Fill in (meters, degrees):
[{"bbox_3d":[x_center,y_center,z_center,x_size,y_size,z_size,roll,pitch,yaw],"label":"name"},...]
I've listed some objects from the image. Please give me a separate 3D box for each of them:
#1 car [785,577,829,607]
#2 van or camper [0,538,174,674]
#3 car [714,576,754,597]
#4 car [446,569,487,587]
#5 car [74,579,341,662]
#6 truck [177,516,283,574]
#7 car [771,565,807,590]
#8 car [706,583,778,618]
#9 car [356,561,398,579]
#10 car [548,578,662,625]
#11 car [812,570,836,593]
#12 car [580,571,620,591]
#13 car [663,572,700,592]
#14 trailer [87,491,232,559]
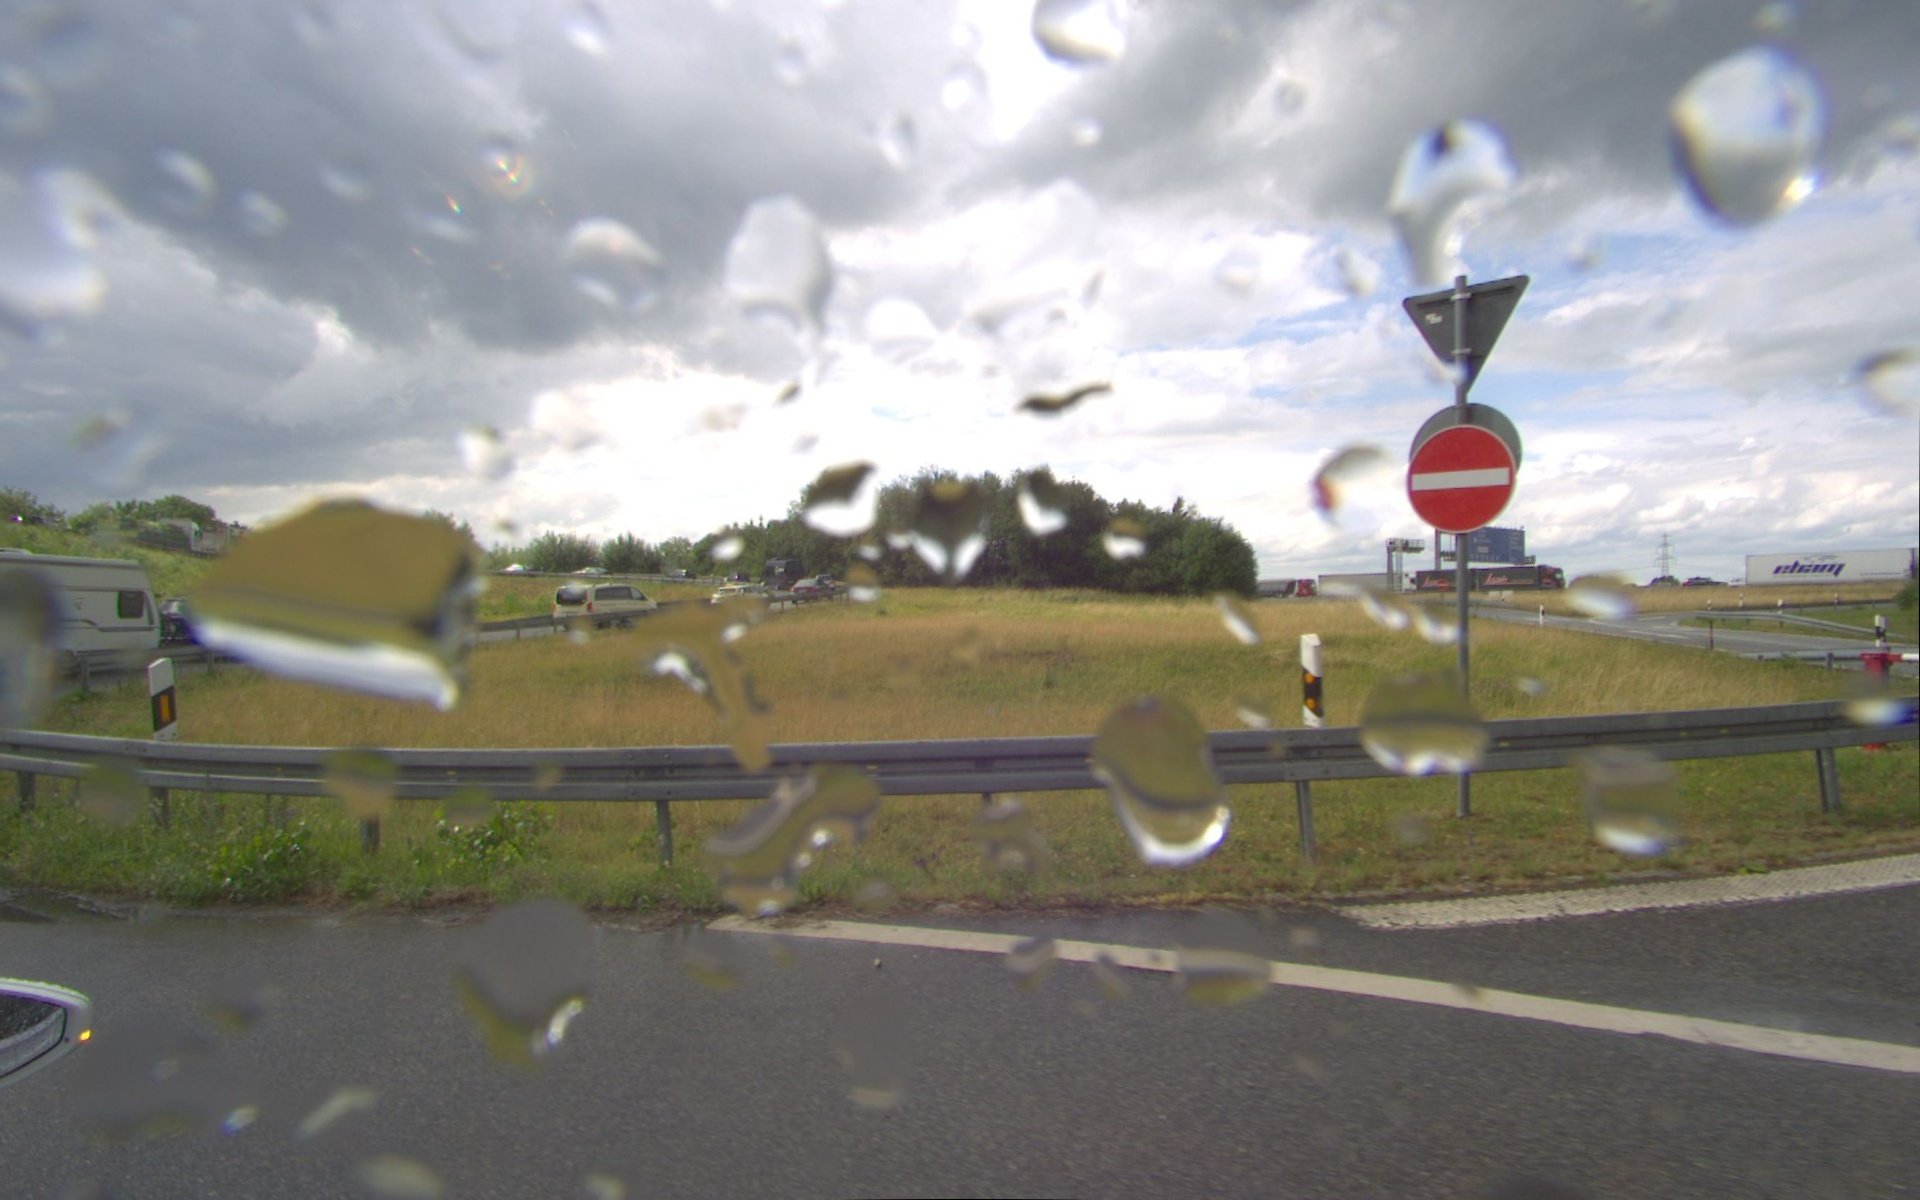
[{"bbox_3d":[-10.013,-0.500,65.837,1.961,1.886,5.056,0,0,1],"label":"car"},{"bbox_3d":[-20.733,0.088,21.880,2.391,2.766,6.000,1,0,0],"label":"van or camper"},{"bbox_3d":[-22.556,-1.353,99.949,3.957,2.040,1.982,0,1,44],"label":"car"},{"bbox_3d":[-58.796,-2.611,119.256,3.924,2.040,1.999,-1,0,10],"label":"car"},{"bbox_3d":[-20.254,0.485,27.412,2.390,1.951,5.756,1,1,10],"label":"car"},{"bbox_3d":[-78.215,-5.680,107.993,4.401,4.560,19.326,1,-2,-22],"label":"truck"},{"bbox_3d":[-15.552,-1.988,90.853,1.971,2.039,3.980,1,-2,-30],"label":"car"},{"bbox_3d":[-12.092,0.029,55.925,1.962,1.886,5.052,0,0,12],"label":"car"},{"bbox_3d":[-69.918,-3.622,120.163,3.924,2.040,1.999,-1,0,-8],"label":"car"},{"bbox_3d":[-14.961,0.051,42.555,1.964,1.886,5.049,0,0,16],"label":"car"},{"bbox_3d":[-10.994,-1.450,80.701,1.635,1.808,5.052,-1,0,-12],"label":"car"},{"bbox_3d":[-40.196,-2.120,111.829,3.931,2.039,1.996,0,-1,21],"label":"car"},{"bbox_3d":[-29.944,-1.910,107.510,3.952,2.041,1.984,1,2,41],"label":"car"},{"bbox_3d":[-71.150,-6.374,89.921,4.354,4.006,20.166,1,-2,-21],"label":"trailer"}]
